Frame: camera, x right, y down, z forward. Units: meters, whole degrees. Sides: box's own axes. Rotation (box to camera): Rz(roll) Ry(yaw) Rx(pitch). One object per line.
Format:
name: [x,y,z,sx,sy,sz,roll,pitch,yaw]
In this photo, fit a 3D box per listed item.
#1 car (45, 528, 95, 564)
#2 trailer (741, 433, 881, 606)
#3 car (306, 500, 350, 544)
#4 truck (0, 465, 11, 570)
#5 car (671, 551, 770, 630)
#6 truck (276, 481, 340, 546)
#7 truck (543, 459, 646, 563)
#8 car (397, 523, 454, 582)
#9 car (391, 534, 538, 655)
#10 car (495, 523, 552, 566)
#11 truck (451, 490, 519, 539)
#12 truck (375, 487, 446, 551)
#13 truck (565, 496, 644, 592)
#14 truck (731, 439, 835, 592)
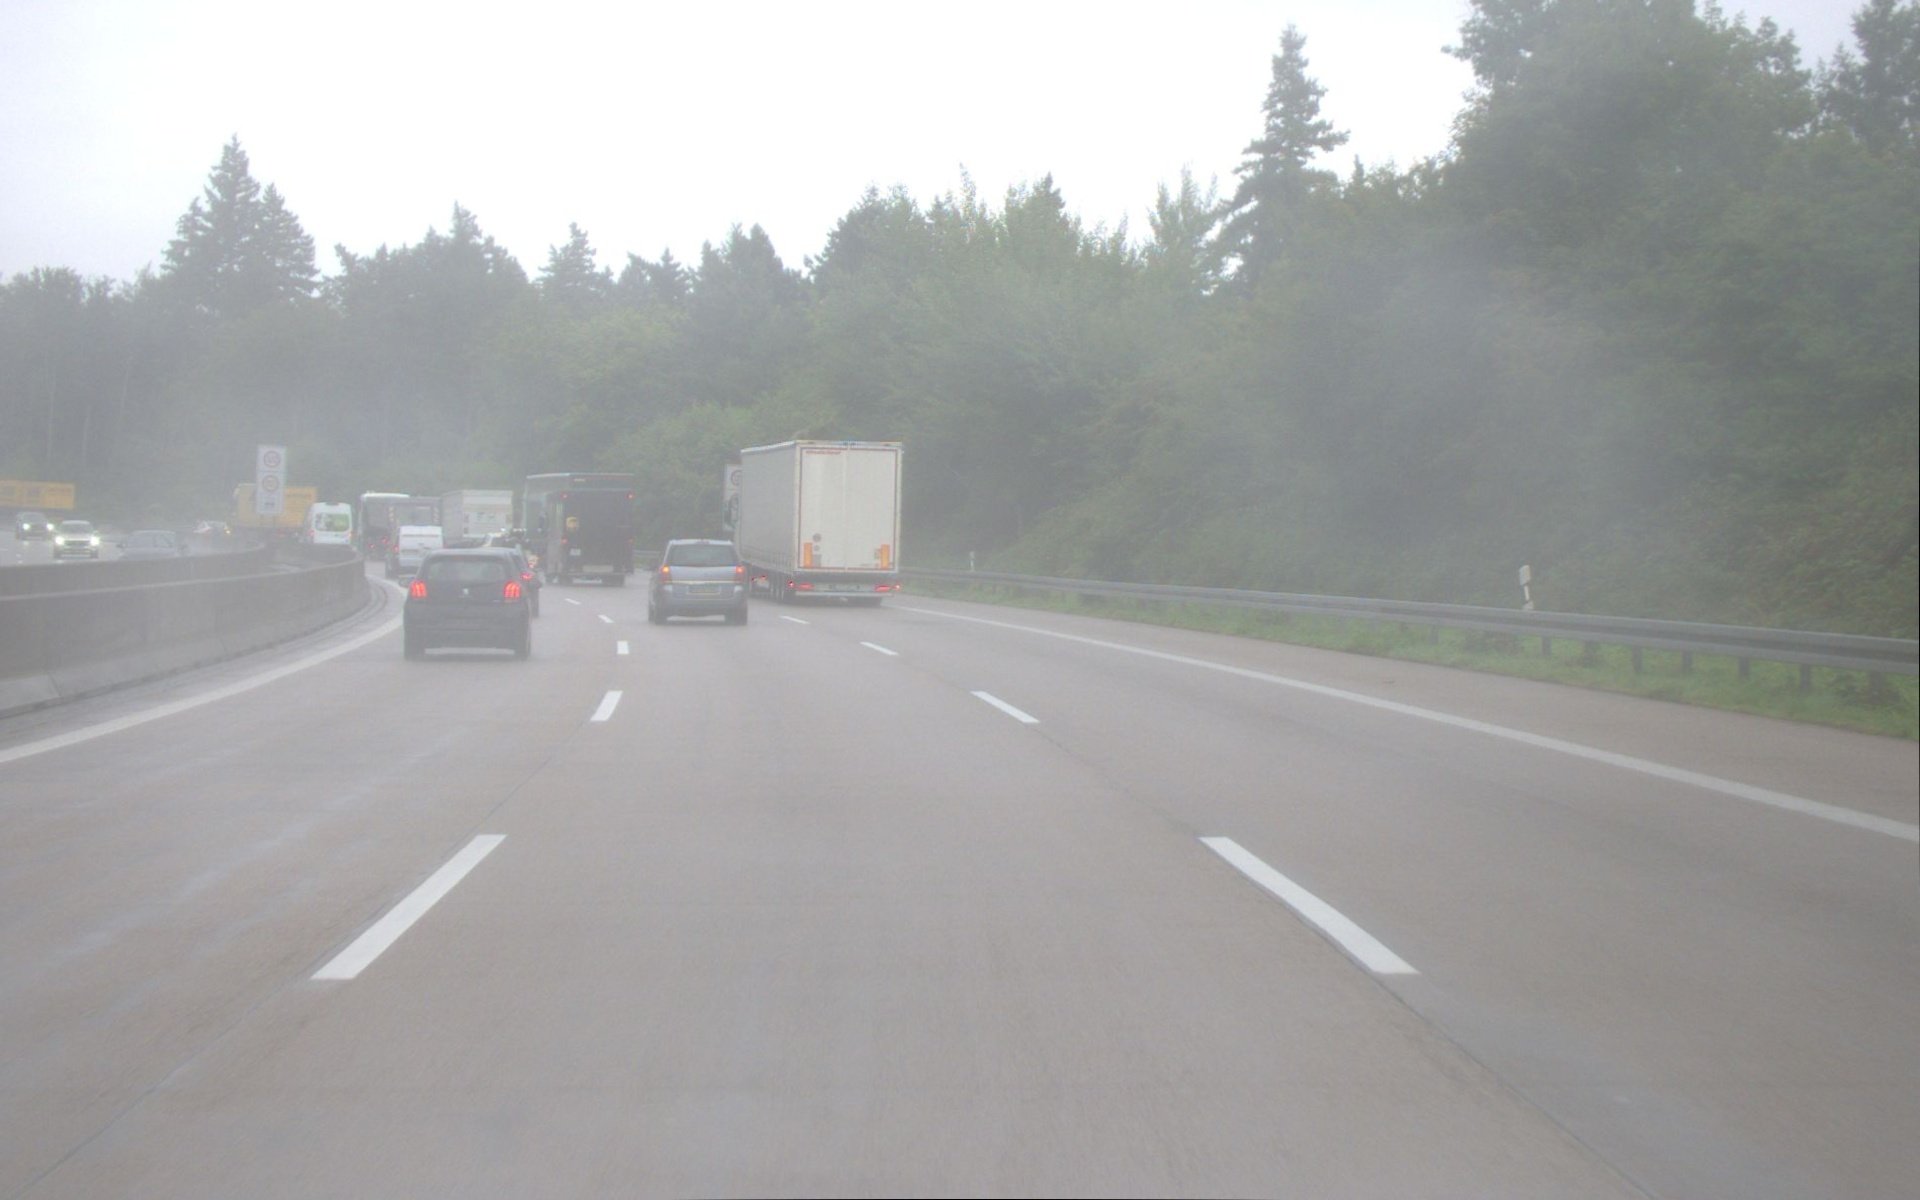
car: [-39.527,-2.414,152.716,1.730,1.570,4.245,0,1,-9]
trailer: [-3.900,-2.073,87.198,2.419,4.054,12.058,1,1,-7]
car: [-30.181,-3.709,164.264,1.993,2.052,4.001,0,1,-9]
truck: [-36.646,-3.025,125.605,2.906,3.875,7.367,1,1,-9]
car: [-4.578,-0.198,65.445,1.553,1.347,3.685,3,1,-8]
truck: [-43.431,-5.731,228.716,3.739,4.195,6.820,0,1,-14]
truck: [-15.236,-3.712,142.553,3.368,4.117,10.441,1,1,-11]
car: [-18.560,-1.660,119.466,1.725,2.007,3.657,0,1,-5]
car: [-6.542,-0.104,45.684,1.683,1.457,3.684,3,1,-5]
car: [-16.149,-2.068,127.251,1.881,1.468,4.001,3,1,-5]
truck: [-24.054,-4.327,173.820,2.973,2.301,6.669,3,1,-11]
truck: [-26.801,-3.970,167.384,3.081,2.895,7.906,1,2,-11]
truck: [-11.521,-1.868,111.801,2.269,2.877,7.905,1,2,-4]
truck: [-4.921,-2.326,94.727,2.419,4.054,4.980,1,1,-7]
